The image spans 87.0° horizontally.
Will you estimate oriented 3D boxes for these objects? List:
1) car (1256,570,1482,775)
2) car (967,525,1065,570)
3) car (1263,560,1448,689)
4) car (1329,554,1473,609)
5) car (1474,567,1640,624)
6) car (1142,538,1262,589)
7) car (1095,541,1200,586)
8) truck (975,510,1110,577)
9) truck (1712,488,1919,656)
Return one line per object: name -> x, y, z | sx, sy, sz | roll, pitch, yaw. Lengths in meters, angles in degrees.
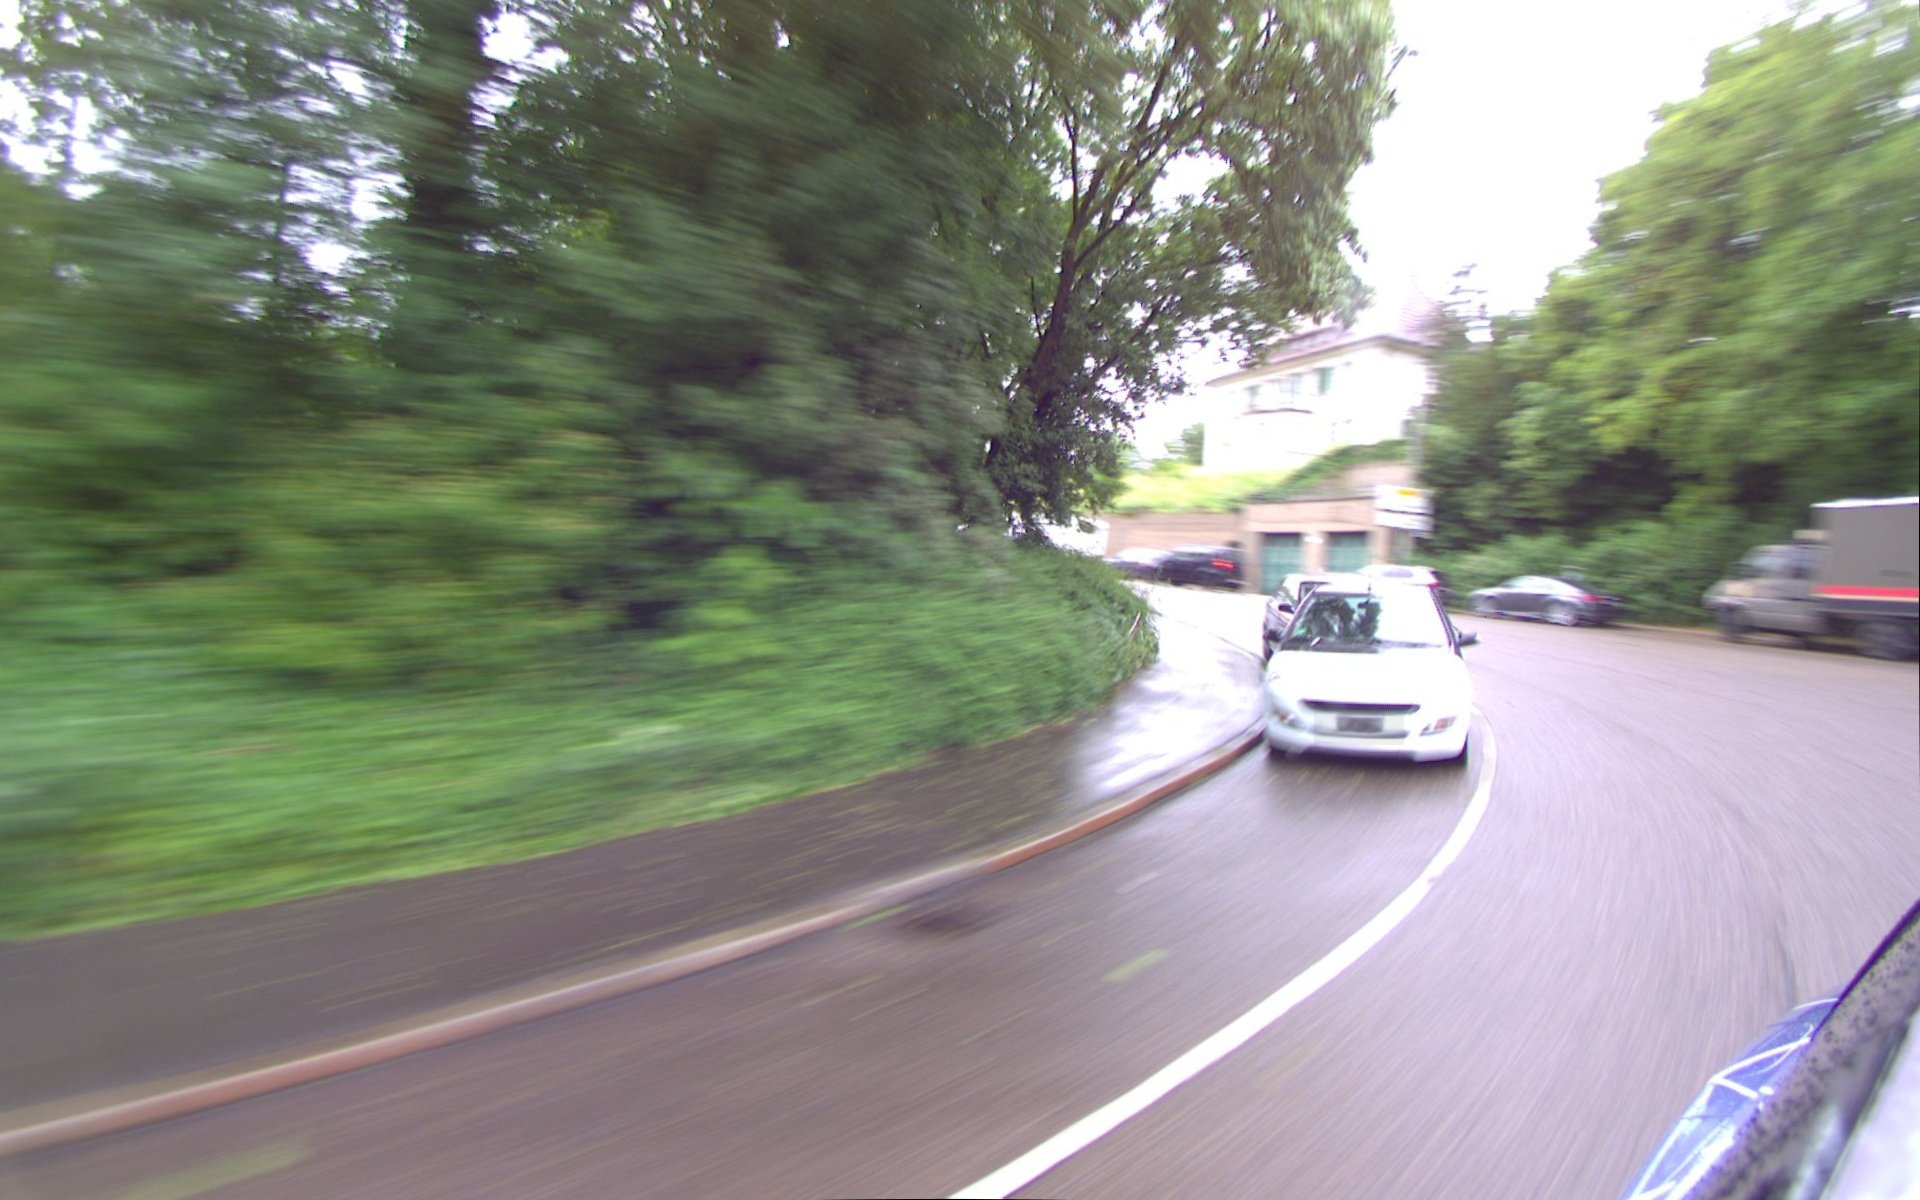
car -> 3.950, 0.489, 9.639 | 1.647, 1.464, 3.671 | 0, 3, 25
car -> 2.311, -2.245, 42.847 | 1.789, 1.591, 4.080 | 2, 4, -39
car -> 5.325, 0.212, 14.133 | 1.654, 1.447, 3.978 | 0, 3, 10
car -> 14.725, -0.654, 33.981 | 1.724, 1.429, 4.115 | 3, 4, -31
car -> 16.900, -0.171, 28.853 | 1.567, 1.315, 3.836 | 2, 3, -22
car -> 8.185, -1.270, 34.462 | 1.606, 1.507, 3.737 | 1, 4, -37
car -> 7.950, -1.569, 43.152 | 1.813, 1.356, 3.997 | 7, 2, -42
truck -> 3.818, -2.762, 48.233 | 2.402, 2.709, 6.457 | 3, 3, -41
truck -> 18.758, -0.548, 20.450 | 2.187, 3.097, 5.954 | 3, 2, -4
